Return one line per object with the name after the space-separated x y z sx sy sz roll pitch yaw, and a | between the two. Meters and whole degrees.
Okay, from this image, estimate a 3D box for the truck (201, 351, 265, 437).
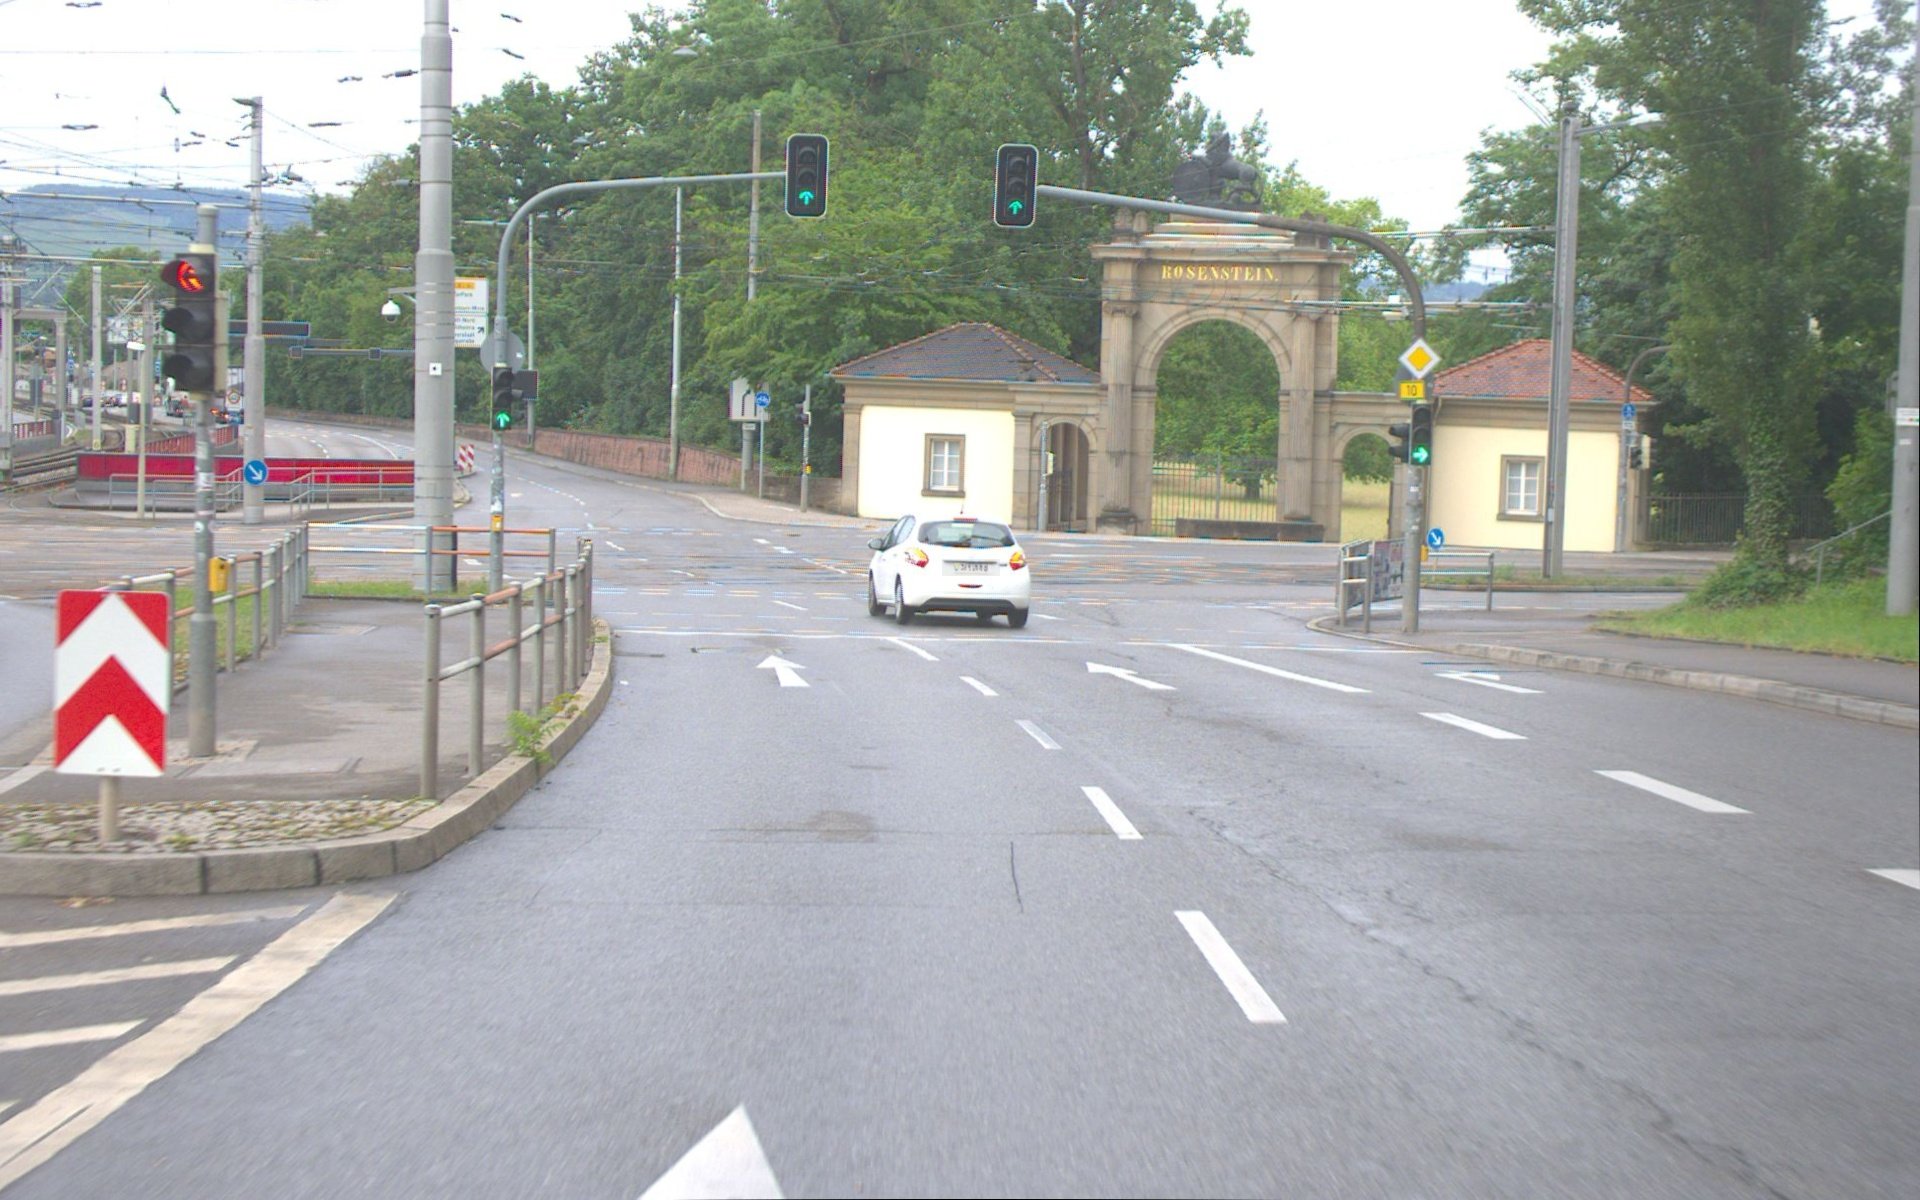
-51.336 -14.463 242.434 3.463 5.382 12.055 1 0 -16 | truck

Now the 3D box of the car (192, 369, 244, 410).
-34.574 -9.810 160.141 1.993 1.866 4.002 -1 3 -17 | car

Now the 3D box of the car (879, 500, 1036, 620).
-0.017 -0.511 45.277 1.955 1.483 4.000 1 0 0 | car
